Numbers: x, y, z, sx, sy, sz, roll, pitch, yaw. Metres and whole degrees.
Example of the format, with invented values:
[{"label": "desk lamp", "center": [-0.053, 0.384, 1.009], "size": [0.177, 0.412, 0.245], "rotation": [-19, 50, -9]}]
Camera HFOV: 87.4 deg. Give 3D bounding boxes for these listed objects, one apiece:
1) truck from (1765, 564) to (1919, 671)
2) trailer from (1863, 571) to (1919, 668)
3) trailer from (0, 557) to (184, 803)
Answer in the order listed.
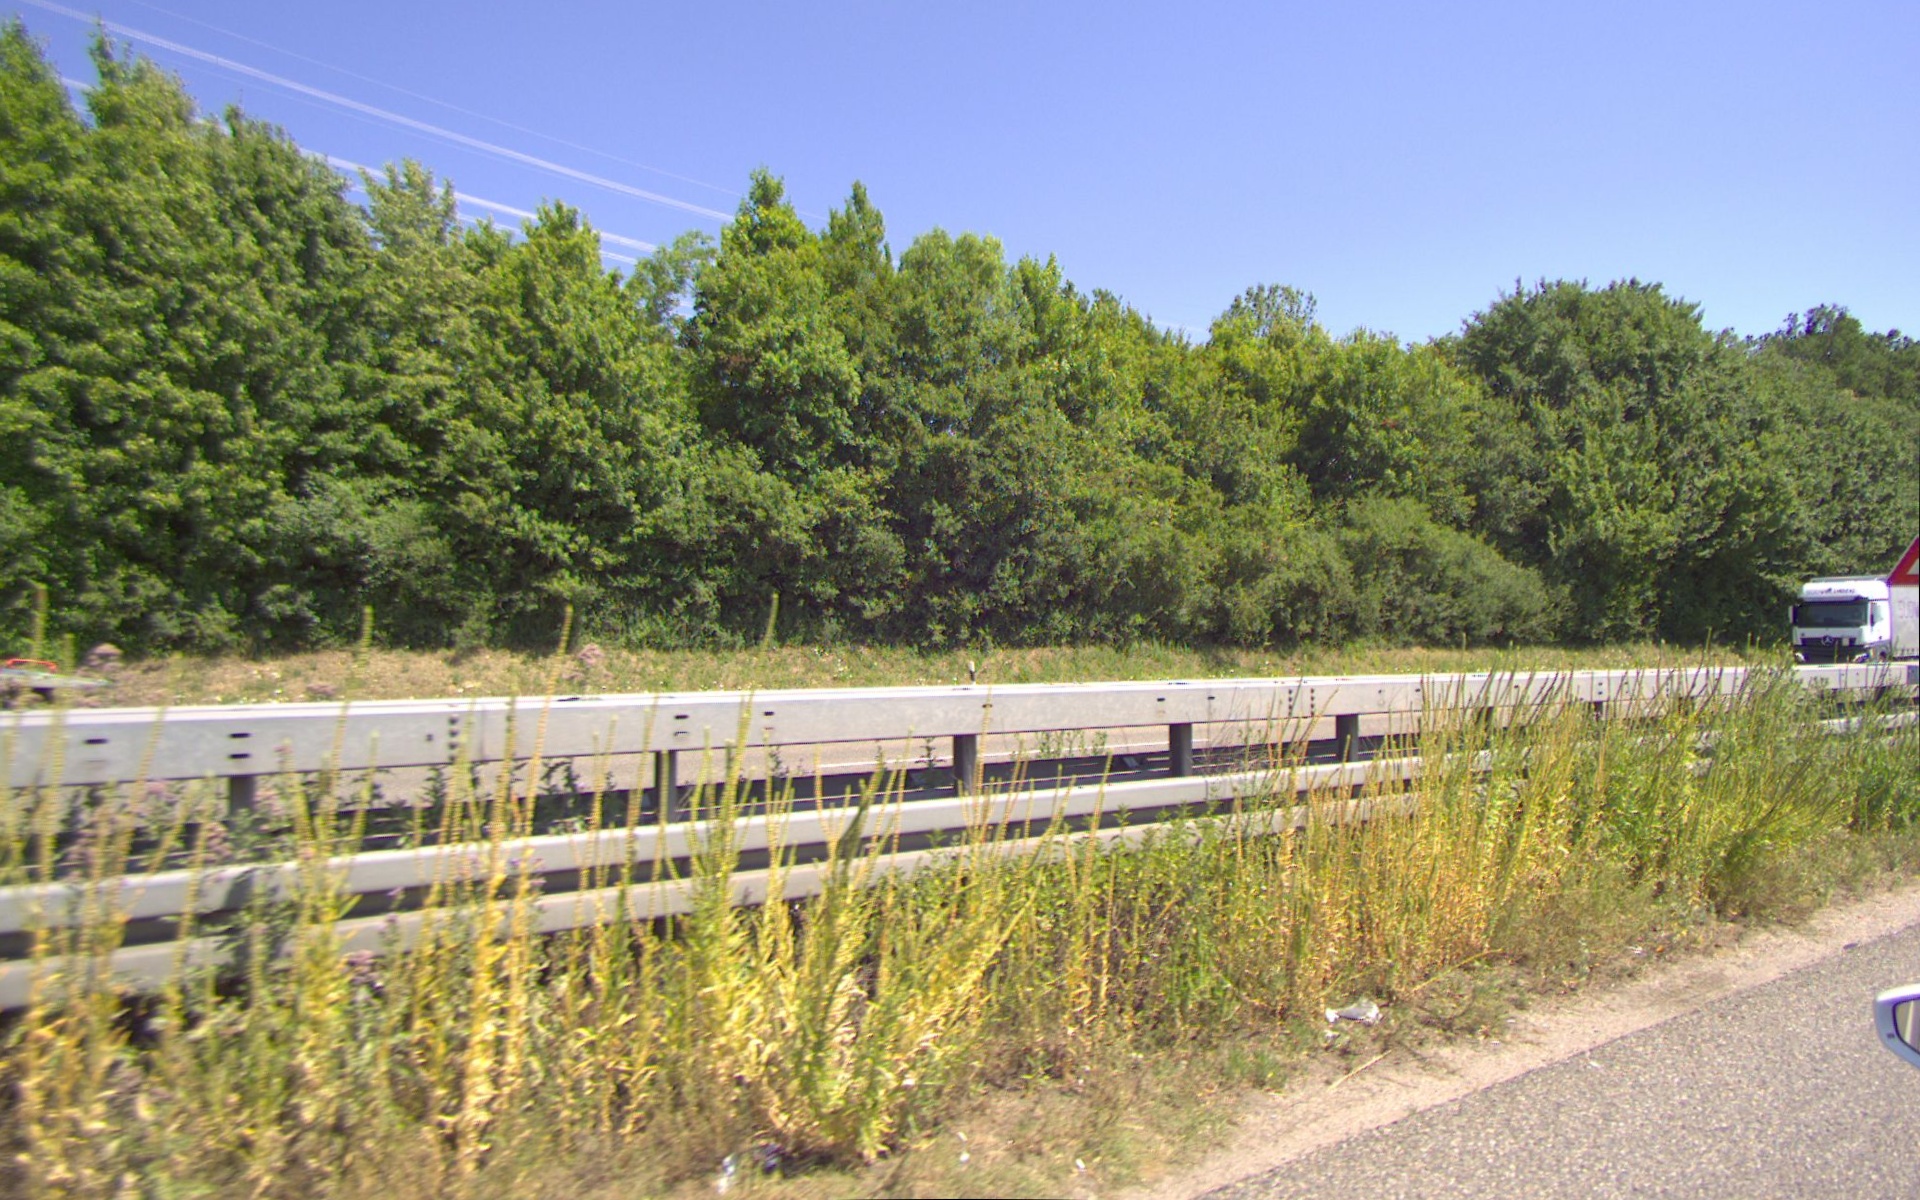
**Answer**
[{"label": "truck", "center": [38.411, 0.827, 42.436], "size": [11.000, 4.047, 3.435], "rotation": [1, -2, -32]}, {"label": "trailer", "center": [46.368, 0.986, 47.429], "size": [7.882, 4.336, 3.435], "rotation": [2, 0, -32]}, {"label": "trailer", "center": [-13.922, 0.762, 10.742], "size": [8.429, 2.674, 3.132], "rotation": [2, 0, -29]}]
